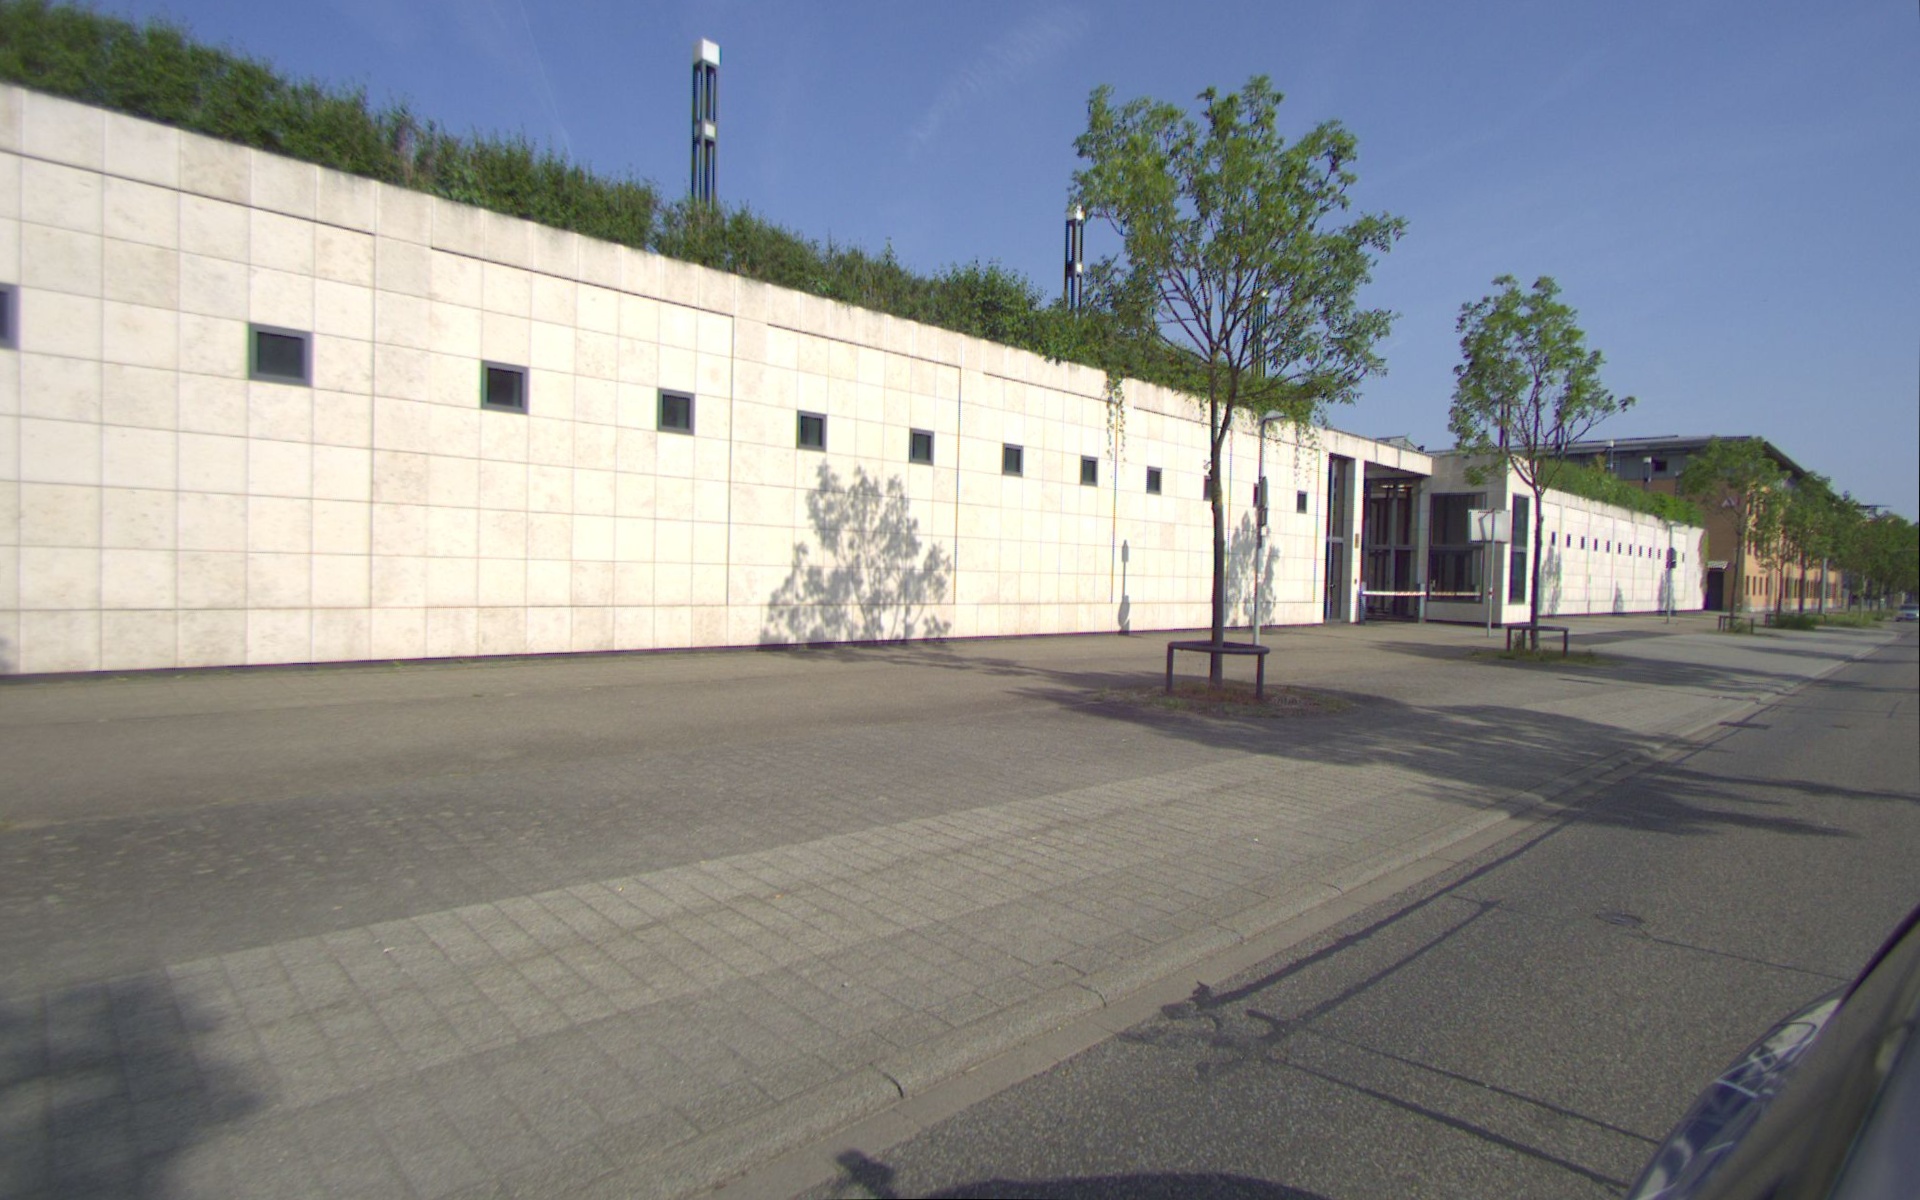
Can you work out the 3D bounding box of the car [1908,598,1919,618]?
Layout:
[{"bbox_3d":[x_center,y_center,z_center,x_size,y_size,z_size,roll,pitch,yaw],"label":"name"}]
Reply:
[{"bbox_3d":[75.223,0.576,79.030,1.625,1.503,3.313,0,0,44],"label":"car"}]
